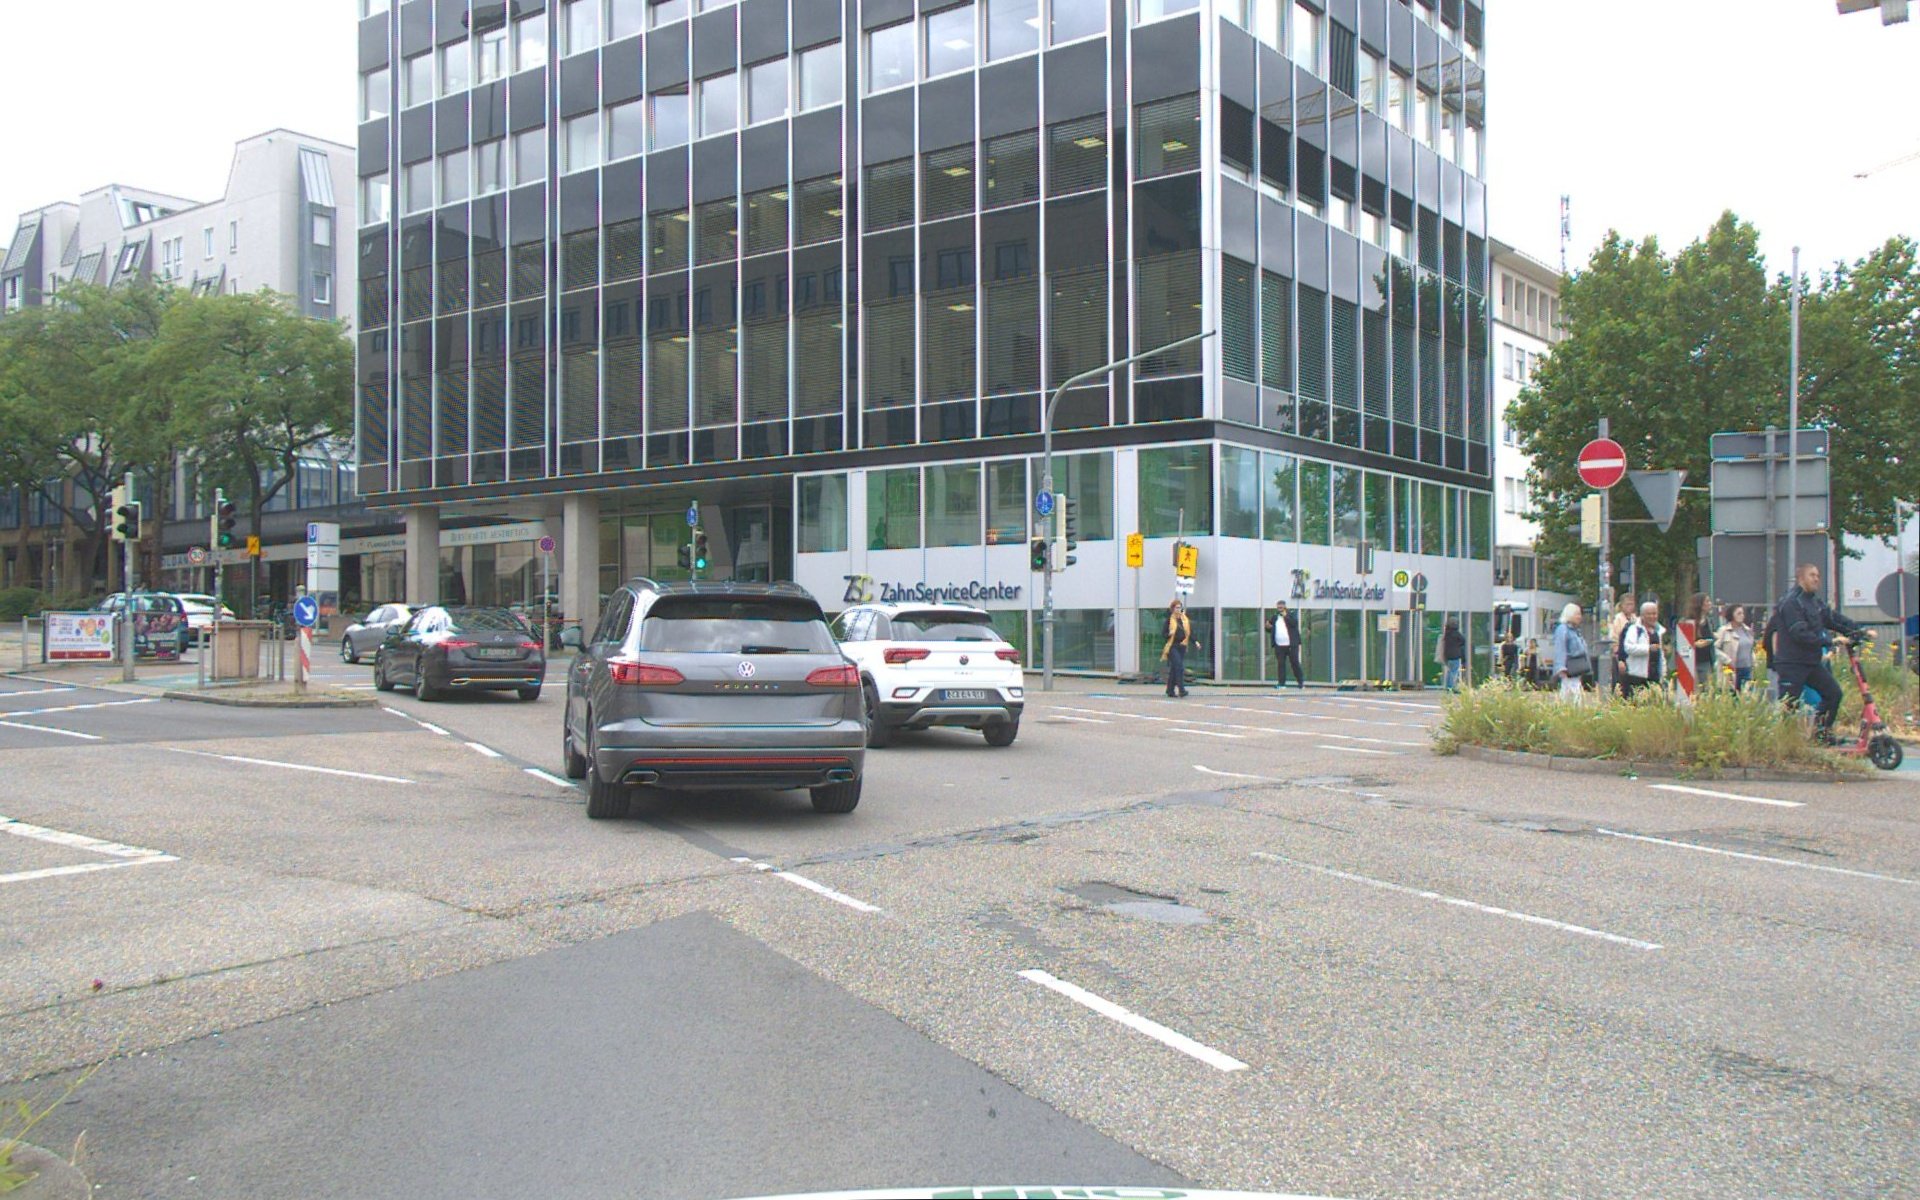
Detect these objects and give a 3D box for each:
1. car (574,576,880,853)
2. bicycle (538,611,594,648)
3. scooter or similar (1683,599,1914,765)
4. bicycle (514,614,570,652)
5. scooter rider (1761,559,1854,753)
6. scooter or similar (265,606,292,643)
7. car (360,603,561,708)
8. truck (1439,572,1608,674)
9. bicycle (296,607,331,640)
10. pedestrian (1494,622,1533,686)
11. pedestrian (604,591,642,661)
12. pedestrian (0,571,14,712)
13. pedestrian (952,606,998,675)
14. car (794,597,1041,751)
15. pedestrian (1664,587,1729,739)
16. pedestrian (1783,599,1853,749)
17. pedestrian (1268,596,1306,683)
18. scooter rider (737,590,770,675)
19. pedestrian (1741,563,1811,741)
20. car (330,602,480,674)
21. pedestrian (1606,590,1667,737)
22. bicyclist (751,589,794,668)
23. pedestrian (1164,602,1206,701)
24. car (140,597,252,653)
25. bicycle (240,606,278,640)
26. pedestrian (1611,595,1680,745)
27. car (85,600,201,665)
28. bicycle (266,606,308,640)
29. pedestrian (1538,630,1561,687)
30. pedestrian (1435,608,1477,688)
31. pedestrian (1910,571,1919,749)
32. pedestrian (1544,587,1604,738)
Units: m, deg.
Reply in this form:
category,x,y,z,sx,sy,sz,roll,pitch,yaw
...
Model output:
category,x,y,z,sx,sy,sz,roll,pitch,yaw
car,-1.920,0.679,12.584,1.936,1.725,4.211,0,1,-13
bicycle,-11.671,0.876,48.988,1.451,1.066,0.714,1,0,22
scooter or similar,7.688,0.724,15.237,1.845,1.431,0.776,1,-1,26
bicycle,-12.220,0.949,48.368,1.451,1.066,0.714,1,0,22
scooter rider,7.775,0.497,15.197,0.729,1.724,0.765,0,-1,26
scooter or similar,-23.692,0.848,57.511,0.975,1.273,0.306,0,-1,29
car,-7.955,0.829,26.136,1.818,1.420,4.096,2,0,-35
truck,18.651,0.796,54.401,2.303,3.117,8.151,0,-1,41
bicycle,-22.923,0.815,58.619,1.659,1.152,0.488,0,-1,43
pedestrian,15.711,1.508,46.929,0.856,1.777,0.845,0,0,34
pedestrian,-8.494,0.661,41.697,0.738,1.741,0.524,-2,-1,37
pedestrian,-12.846,0.544,21.526,0.623,1.821,0.713,2,4,42
pedestrian,0.323,0.874,36.251,0.823,1.468,0.603,0,0,38
car,-0.611,0.790,19.225,1.770,1.572,3.913,-1,-1,-19
pedestrian,8.572,0.722,19.265,0.627,1.725,0.611,1,-1,19
pedestrian,10.064,0.854,19.410,0.627,1.725,0.611,1,-1,19
pedestrian,6.757,0.803,34.150,0.622,1.779,0.590,0,0,26
scooter rider,-4.480,0.698,35.928,0.628,1.840,0.593,-1,0,1
pedestrian,9.349,0.583,18.971,0.627,1.999,0.611,1,-1,19
car,-12.874,0.856,38.260,1.823,1.457,4.085,2,0,-42
pedestrian,8.704,0.801,21.301,0.686,1.847,0.669,1,-1,21
bicyclist,-4.528,0.681,40.037,0.798,1.878,0.672,0,0,37
pedestrian,4.015,0.910,29.501,0.536,1.727,0.800,0,0,-9
car,-22.003,0.686,47.566,1.824,1.544,3.706,0,1,-44
bicycle,-24.344,0.798,57.401,1.810,1.152,0.488,0,-1,42
pedestrian,8.418,0.840,20.331,0.745,1.792,0.669,1,-1,21
car,-20.803,0.775,42.050,1.821,1.544,3.712,0,0,-40
bicycle,-23.638,0.811,58.071,1.850,1.152,0.489,0,-1,37
pedestrian,16.519,1.632,46.350,0.507,1.561,0.552,0,-1,34
pedestrian,10.705,1.028,35.715,0.583,1.708,0.630,1,0,-33
pedestrian,10.174,0.623,16.935,0.627,1.828,0.611,2,0,19
pedestrian,7.871,0.786,21.208,0.686,1.895,0.669,1,-1,21
